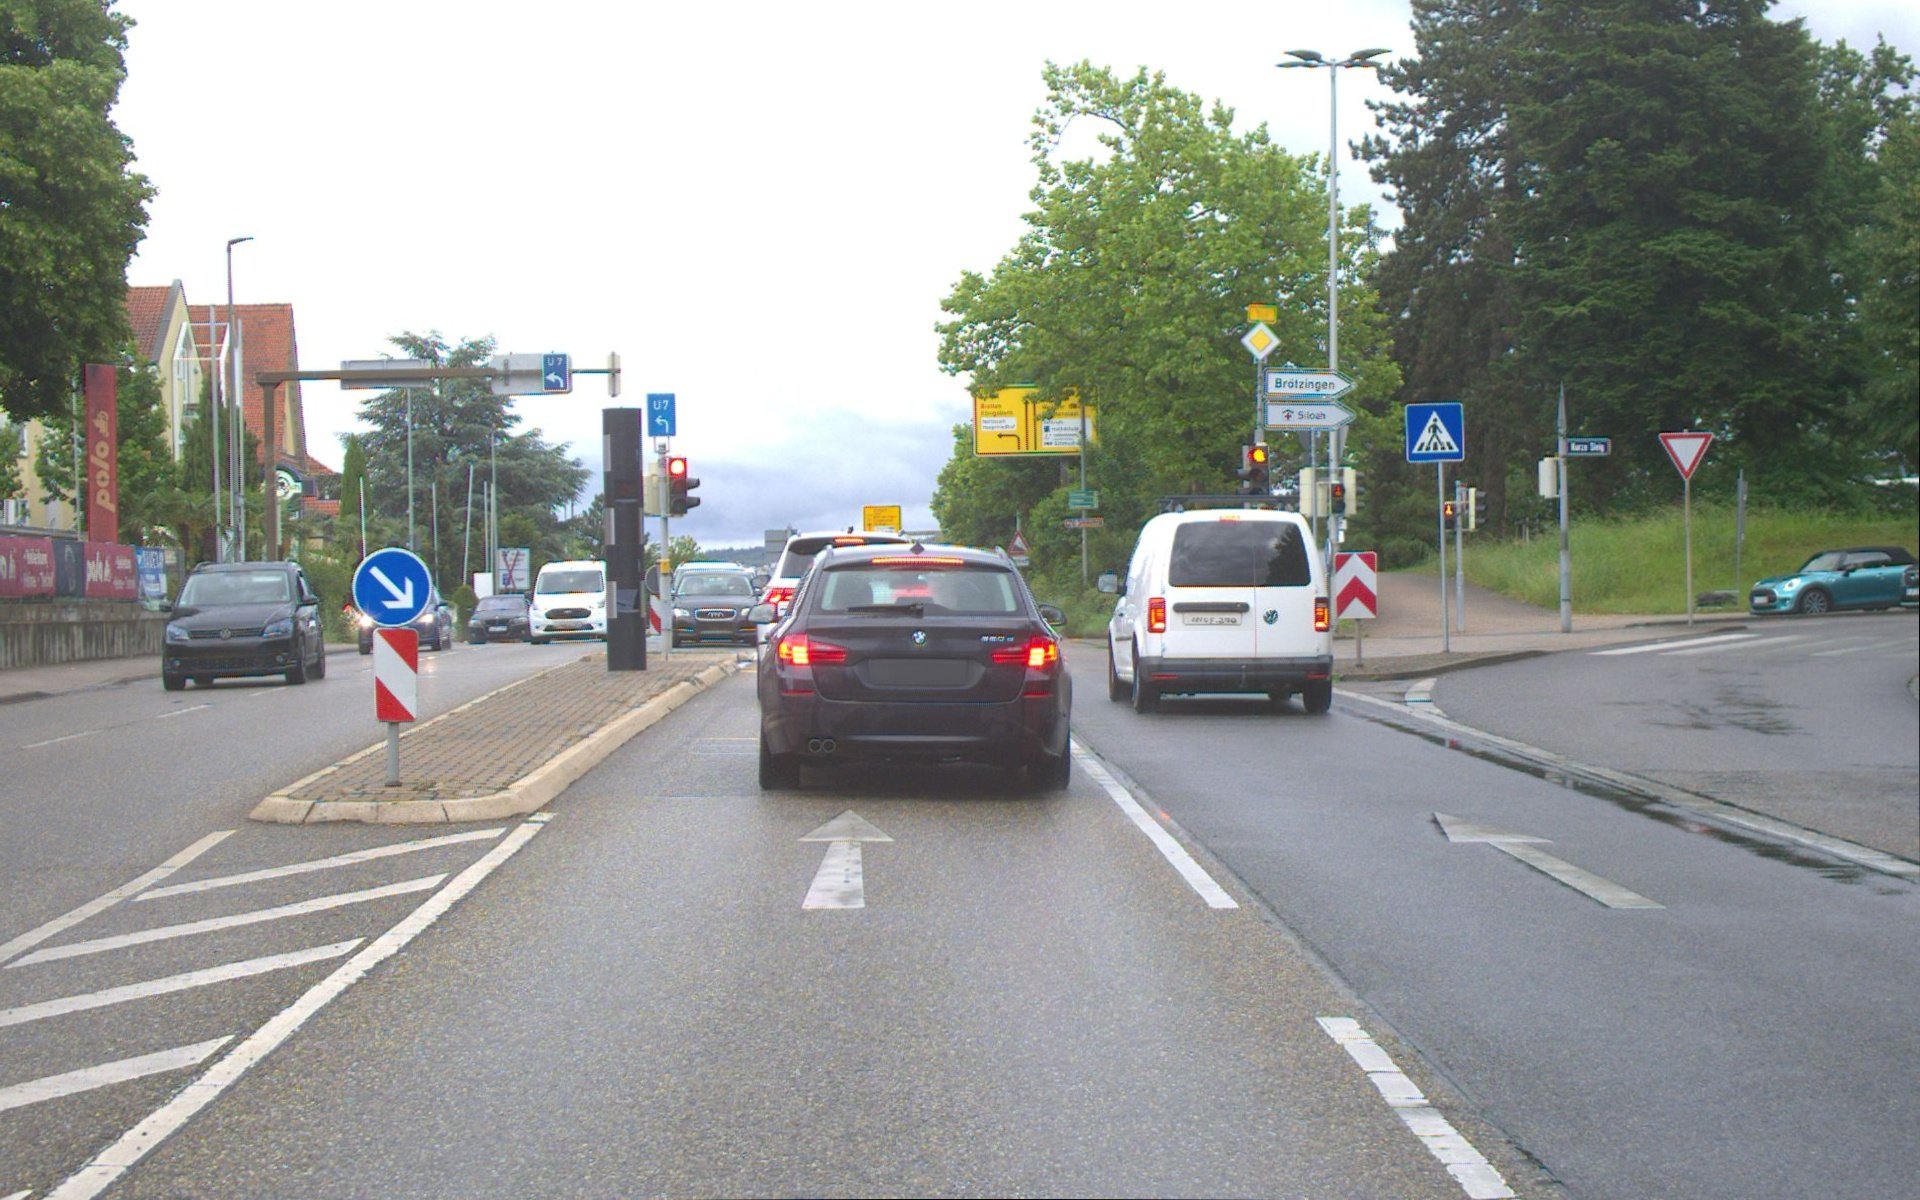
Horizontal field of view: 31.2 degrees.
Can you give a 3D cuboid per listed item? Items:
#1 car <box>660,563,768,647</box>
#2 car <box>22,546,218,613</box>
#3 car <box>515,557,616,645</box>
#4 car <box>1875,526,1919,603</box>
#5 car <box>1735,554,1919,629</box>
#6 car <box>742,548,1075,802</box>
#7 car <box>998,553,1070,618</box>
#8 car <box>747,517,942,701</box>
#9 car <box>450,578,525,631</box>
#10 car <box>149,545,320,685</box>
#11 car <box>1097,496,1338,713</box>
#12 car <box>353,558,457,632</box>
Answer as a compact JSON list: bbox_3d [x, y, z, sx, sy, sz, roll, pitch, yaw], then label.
[{"bbox_3d":[-4.539,0.077,63.266,1.894,1.451,4.098,-1,0,-4],"label":"car"},{"bbox_3d":[-20.060,-0.496,82.142,4.193,1.451,1.801,-2,1,-28],"label":"car"},{"bbox_3d":[-8.788,-0.004,76.888,1.857,1.817,4.580,-3,1,-3],"label":"car"},{"bbox_3d":[20.357,-0.753,67.363,4.315,1.462,1.901,-2,1,-18],"label":"car"},{"bbox_3d":[17.921,-0.189,69.793,3.986,1.289,1.609,-3,2,-19],"label":"car"},{"bbox_3d":[-0.247,0.396,21.194,1.855,1.414,3.957,0,1,1],"label":"car"},{"bbox_3d":[1.740,-0.367,81.395,1.600,1.367,3.680,-2,2,0],"label":"car"},{"bbox_3d":[-1.107,0.043,34.393,1.728,1.705,3.382,0,2,2],"label":"car"},{"bbox_3d":[-13.354,0.106,97.332,1.668,1.377,4.072,-1,1,-2],"label":"car"},{"bbox_3d":[-9.489,0.154,45.244,1.756,1.671,4.149,-3,1,-7],"label":"car"},{"bbox_3d":[2.295,-0.004,31.558,1.741,1.863,3.946,0,1,-2],"label":"car"},{"bbox_3d":[-11.465,-0.120,71.171,1.634,1.377,3.766,-3,1,-3],"label":"car"}]
